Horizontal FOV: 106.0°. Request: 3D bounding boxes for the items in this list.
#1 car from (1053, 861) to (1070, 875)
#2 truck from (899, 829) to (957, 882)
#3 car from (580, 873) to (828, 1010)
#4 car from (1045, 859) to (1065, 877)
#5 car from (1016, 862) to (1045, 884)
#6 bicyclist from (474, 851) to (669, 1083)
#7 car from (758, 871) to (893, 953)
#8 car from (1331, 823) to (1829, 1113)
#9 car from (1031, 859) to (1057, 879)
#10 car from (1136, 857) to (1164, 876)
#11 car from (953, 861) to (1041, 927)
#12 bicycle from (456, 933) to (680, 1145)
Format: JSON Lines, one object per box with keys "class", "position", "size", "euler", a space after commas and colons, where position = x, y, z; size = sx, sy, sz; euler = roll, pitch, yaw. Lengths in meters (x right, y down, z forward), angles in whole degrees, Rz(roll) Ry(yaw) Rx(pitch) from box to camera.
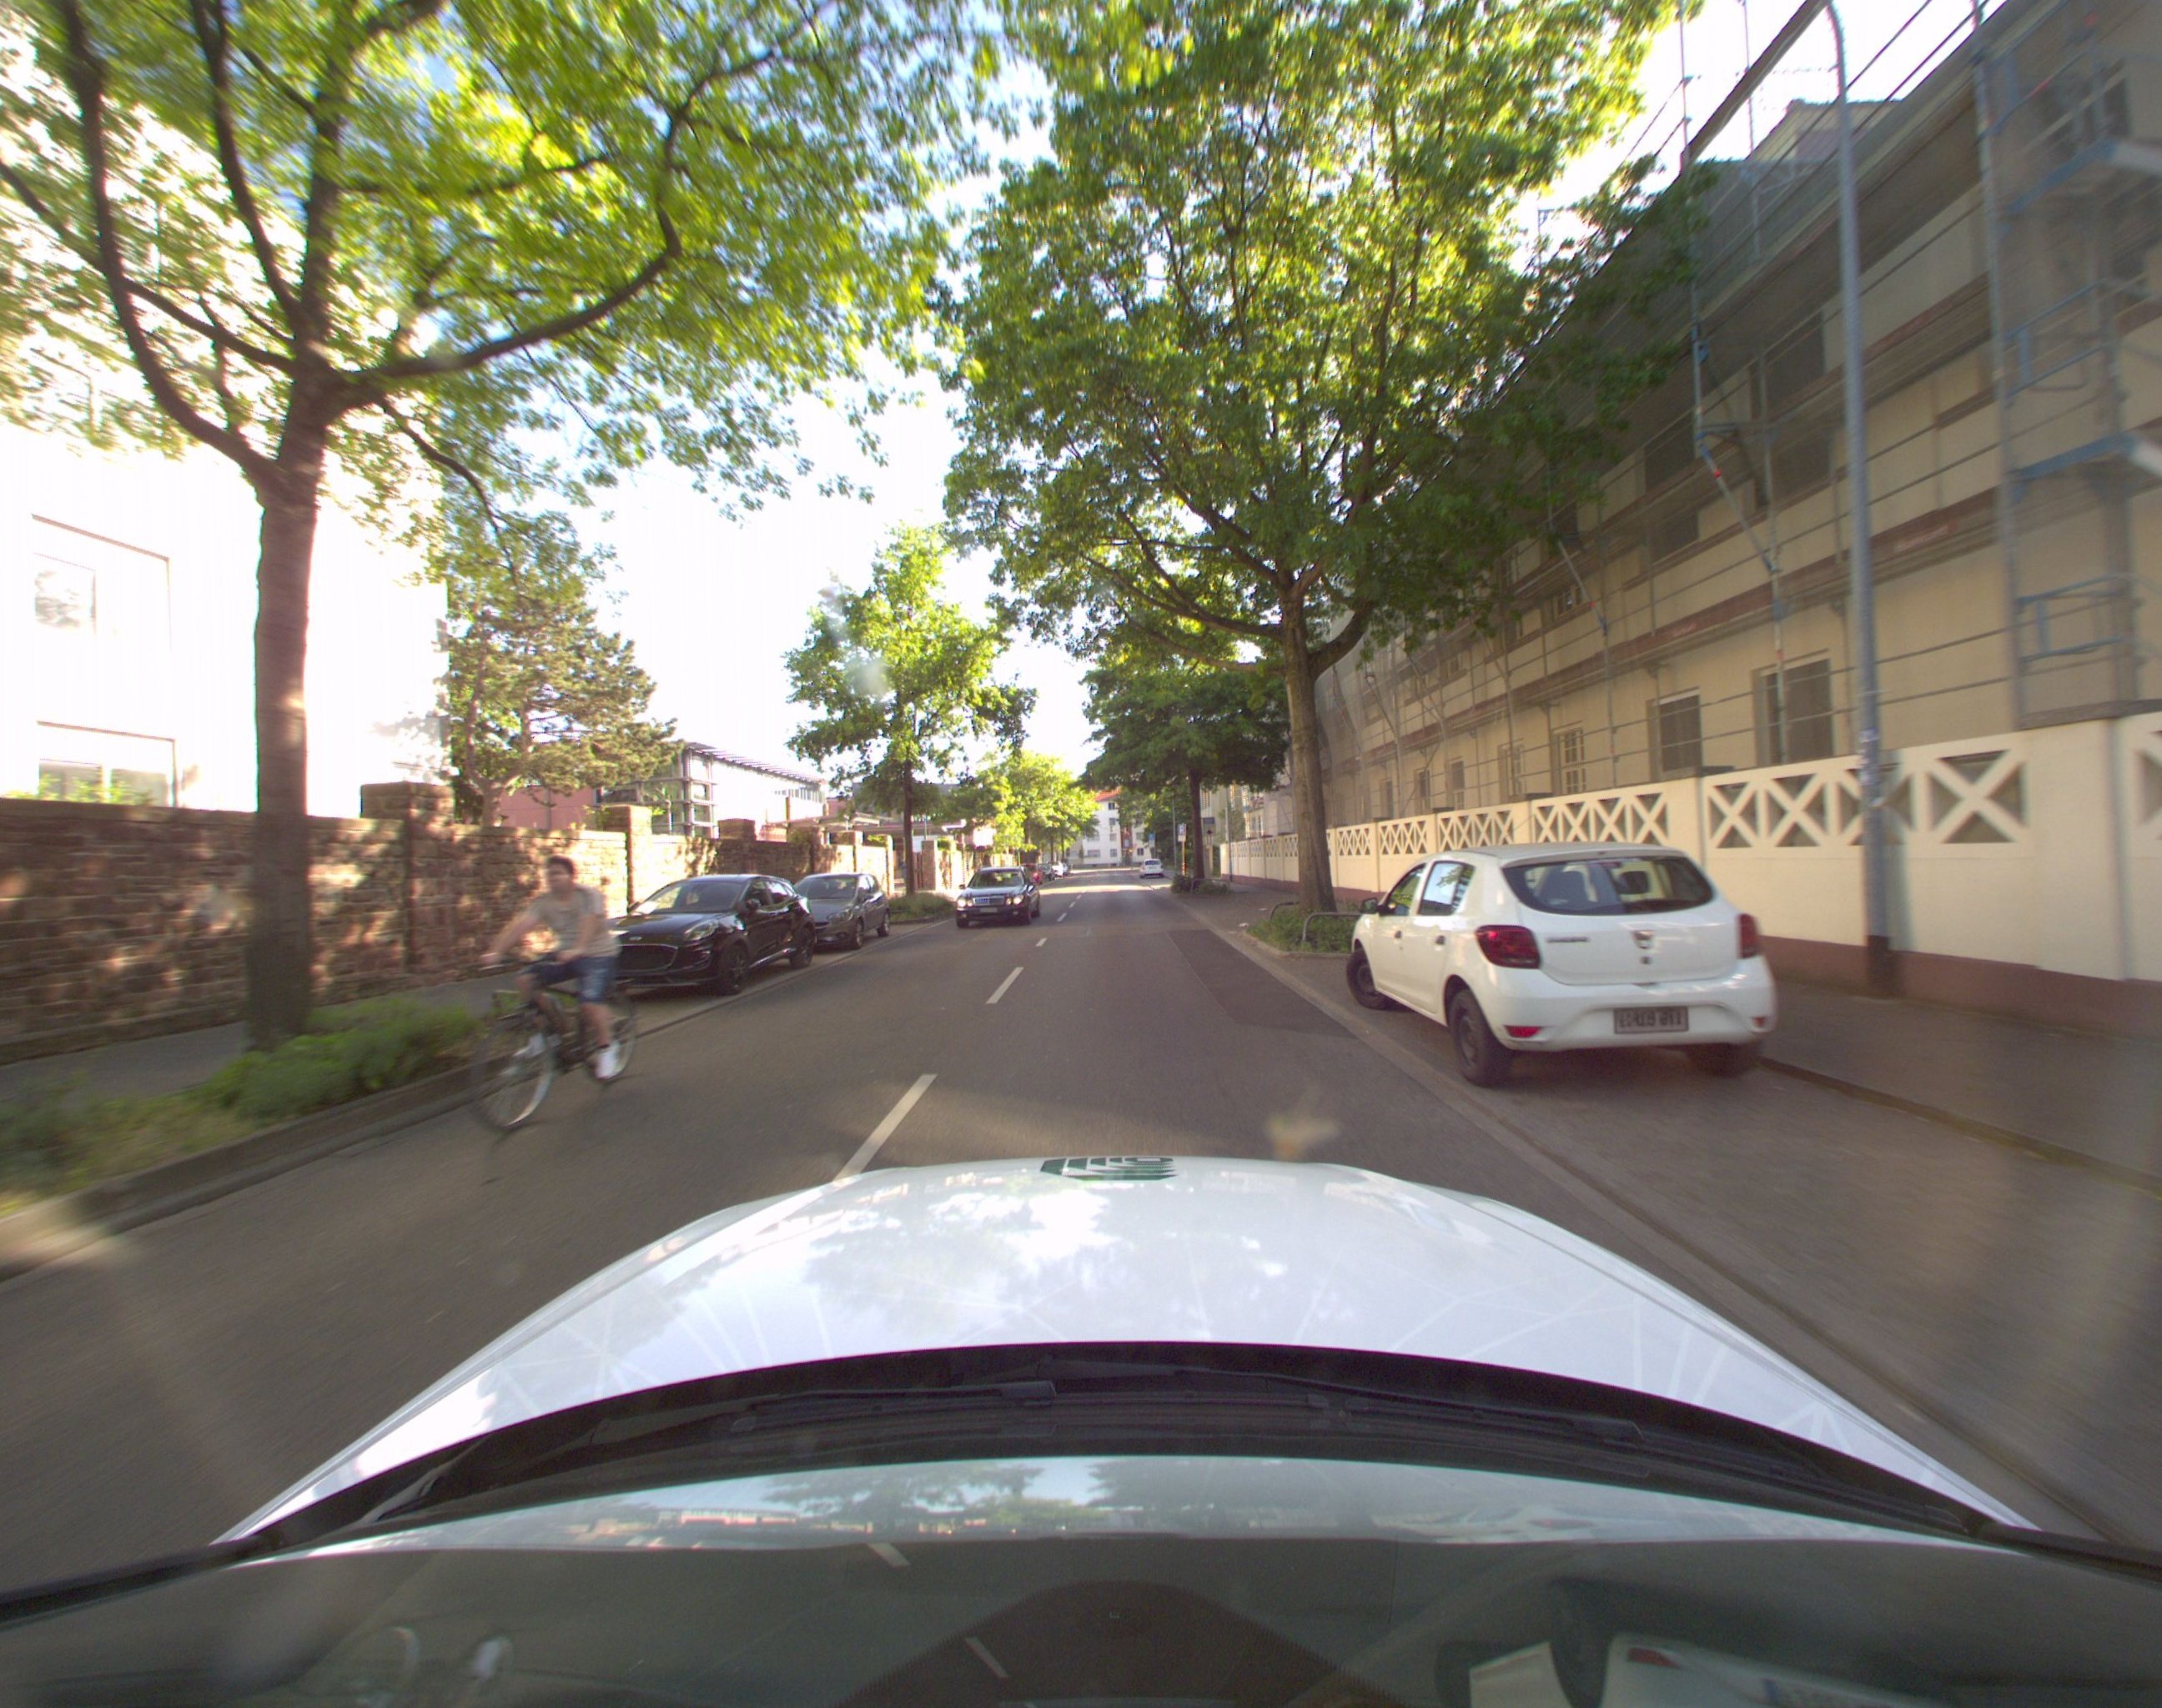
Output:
{"class": "car", "position": [-2.181, 1.534, 91.696], "size": [1.720, 1.476, 4.479], "euler": [-1, 0, 2]}
{"class": "truck", "position": [-11.461, 0.124, 61.601], "size": [2.722, 3.711, 7.430], "euler": [-1, 0, 2]}
{"class": "car", "position": [-5.122, 1.090, 11.726], "size": [1.568, 1.515, 4.045], "euler": [-2, 0, 1]}
{"class": "car", "position": [-2.526, 1.357, 79.715], "size": [1.714, 1.683, 4.351], "euler": [-2, 0, 0]}
{"class": "car", "position": [-3.439, 1.262, 55.632], "size": [1.602, 1.459, 3.710], "euler": [-1, 0, 2]}
{"class": "bicyclist", "position": [-3.609, 0.745, 5.857], "size": [0.717, 1.522, 1.006], "euler": [-1, -1, 5]}
{"class": "car", "position": [-5.111, 1.106, 16.821], "size": [1.683, 1.422, 3.835], "euler": [-1, 0, -2]}
{"class": "car", "position": [3.356, 0.634, 6.499], "size": [1.715, 1.510, 3.997], "euler": [-4, 0, 5]}
{"class": "car", "position": [-3.085, 1.229, 69.250], "size": [1.730, 1.592, 4.110], "euler": [-2, 0, 3]}
{"class": "car", "position": [5.303, 0.977, 62.910], "size": [1.826, 1.323, 4.497], "euler": [-3, 0, 1]}
{"class": "car", "position": [-2.079, 0.955, 21.218], "size": [1.815, 1.436, 3.969], "euler": [-3, 0, 0]}
{"class": "bicycle", "position": [-3.592, 1.217, 5.904], "size": [0.356, 1.120, 1.867], "euler": [-1, 0, 3]}
